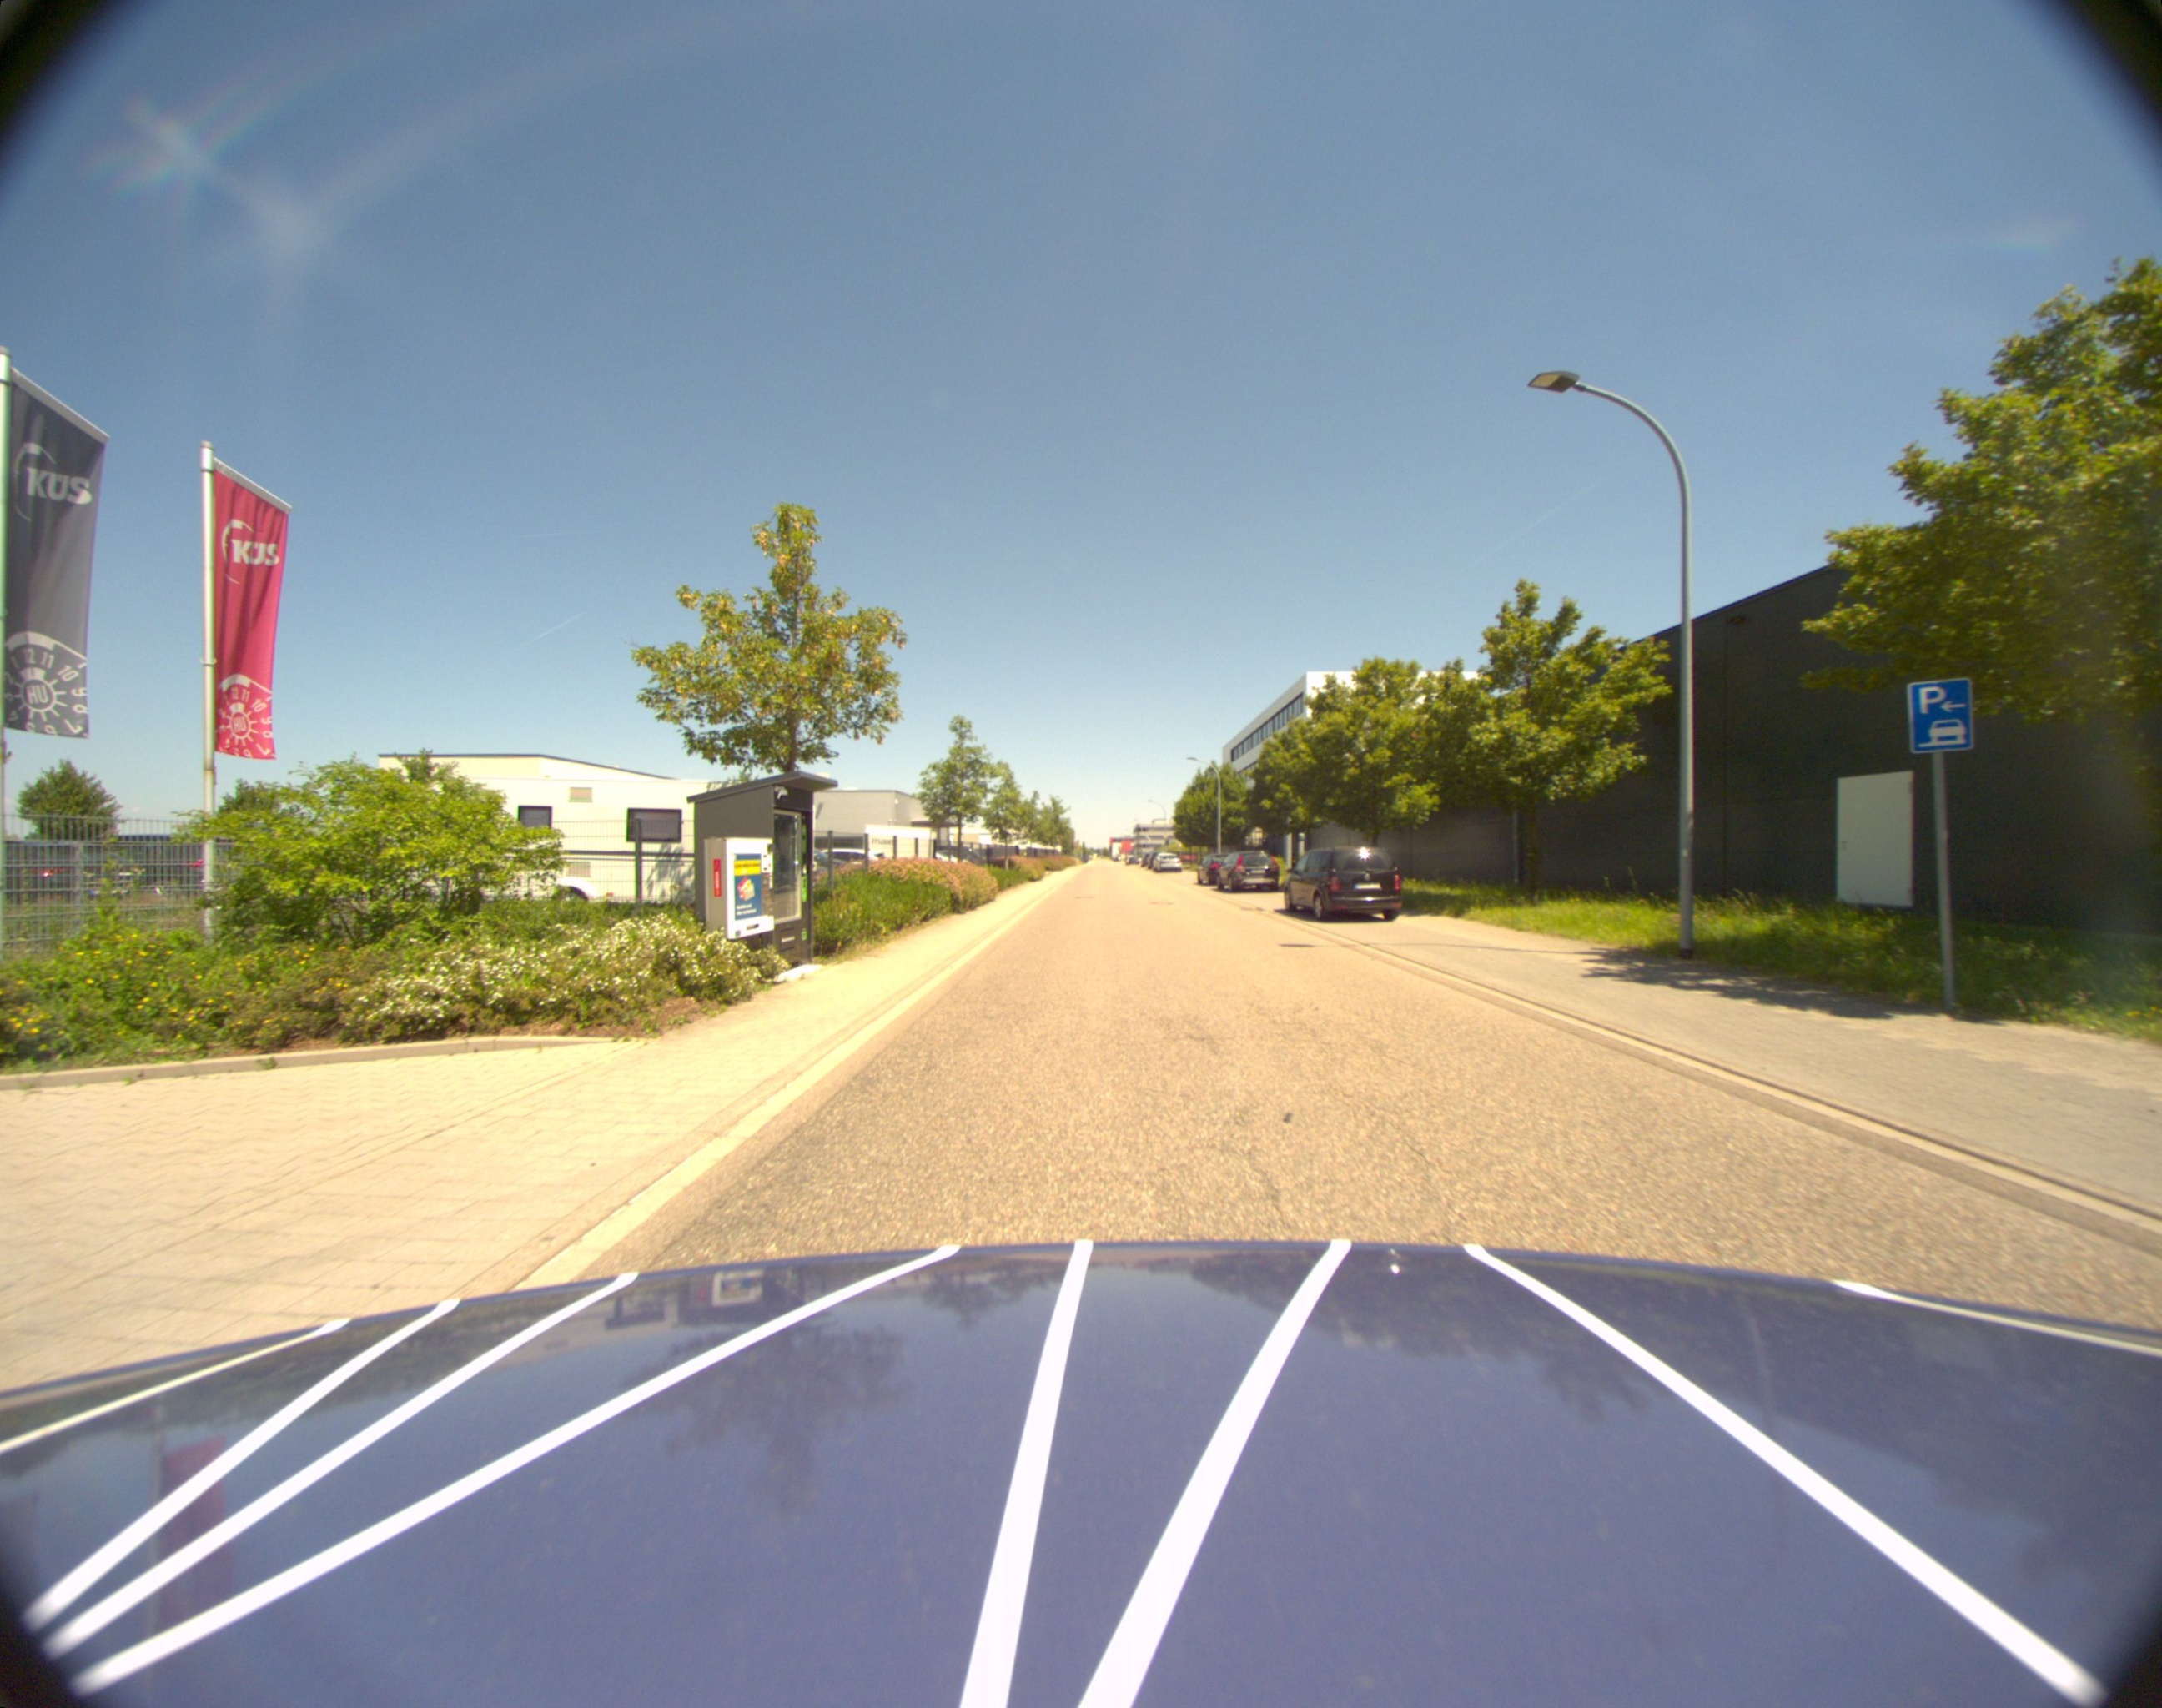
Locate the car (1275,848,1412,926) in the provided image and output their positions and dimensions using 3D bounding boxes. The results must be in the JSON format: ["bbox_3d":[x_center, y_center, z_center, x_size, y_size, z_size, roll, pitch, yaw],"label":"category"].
[{"bbox_3d":[6.022,0.676,17.974,1.775,1.602,4.247,-1,0,0],"label":"car"}]

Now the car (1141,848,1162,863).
[{"bbox_3d":[7.720,0.204,83.697,1.775,1.578,4.481,-1,0,-1],"label":"car"}]

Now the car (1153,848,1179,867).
[{"bbox_3d":[7.144,0.261,64.097,1.775,1.422,4.201,-4,0,1],"label":"car"}]

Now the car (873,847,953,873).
[{"bbox_3d":[-9.866,0.316,44.722,4.289,1.436,1.755,1,1,1],"label":"car"}]

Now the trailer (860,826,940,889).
[{"bbox_3d":[-7.190,0.141,30.326,2.830,2.389,1.419,1,1,-3],"label":"trailer"}]

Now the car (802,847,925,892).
[{"bbox_3d":[-7.793,0.524,27.467,3.900,1.467,1.806,1,1,1],"label":"car"}]

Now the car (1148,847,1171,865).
[{"bbox_3d":[7.352,0.203,71.105,1.775,1.614,4.582,-1,1,1],"label":"car"}]

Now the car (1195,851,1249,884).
[{"bbox_3d":[6.633,0.591,36.167,1.775,1.422,4.200,-1,0,0],"label":"car"}]

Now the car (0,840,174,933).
[{"bbox_3d":[-19.429,0.532,13.803,3.830,1.567,1.750,1,1,1],"label":"car"}]

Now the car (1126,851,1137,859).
[{"bbox_3d":[9.210,0.196,138.961,1.678,1.521,3.909,-1,1,1],"label":"car"}]

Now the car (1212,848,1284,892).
[{"bbox_3d":[6.528,0.565,30.227,1.775,1.602,4.852,-1,0,0],"label":"car"}]

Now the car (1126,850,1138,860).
[{"bbox_3d":[8.309,0.130,123.496,1.678,1.442,4.069,-7,0,1],"label":"car"}]

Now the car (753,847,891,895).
[{"bbox_3d":[-8.339,0.532,24.736,3.850,1.432,1.806,1,1,-2],"label":"car"}]

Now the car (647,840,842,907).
[{"bbox_3d":[-8.472,0.467,19.364,4.147,1.528,1.808,1,1,1],"label":"car"}]

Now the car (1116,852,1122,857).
[{"bbox_3d":[11.832,0.075,234.292,1.694,1.481,3.660,-2,0,2],"label":"car"}]

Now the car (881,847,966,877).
[{"bbox_3d":[-8.071,0.393,39.224,3.997,1.513,1.822,0,1,1],"label":"car"}]

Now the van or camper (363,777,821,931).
[{"bbox_3d":[-8.672,-0.017,14.076,6.774,2.570,2.635,0,1,1],"label":"van or camper"}]

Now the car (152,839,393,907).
[{"bbox_3d":[-19.654,0.435,18.605,4.051,1.540,1.748,1,1,1],"label":"car"}]

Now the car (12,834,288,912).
[{"bbox_3d":[-19.714,0.381,16.210,3.830,1.534,1.678,1,1,1],"label":"car"}]

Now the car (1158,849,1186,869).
[{"bbox_3d":[7.032,0.373,58.966,1.775,1.422,3.940,-1,1,1],"label":"car"}]
